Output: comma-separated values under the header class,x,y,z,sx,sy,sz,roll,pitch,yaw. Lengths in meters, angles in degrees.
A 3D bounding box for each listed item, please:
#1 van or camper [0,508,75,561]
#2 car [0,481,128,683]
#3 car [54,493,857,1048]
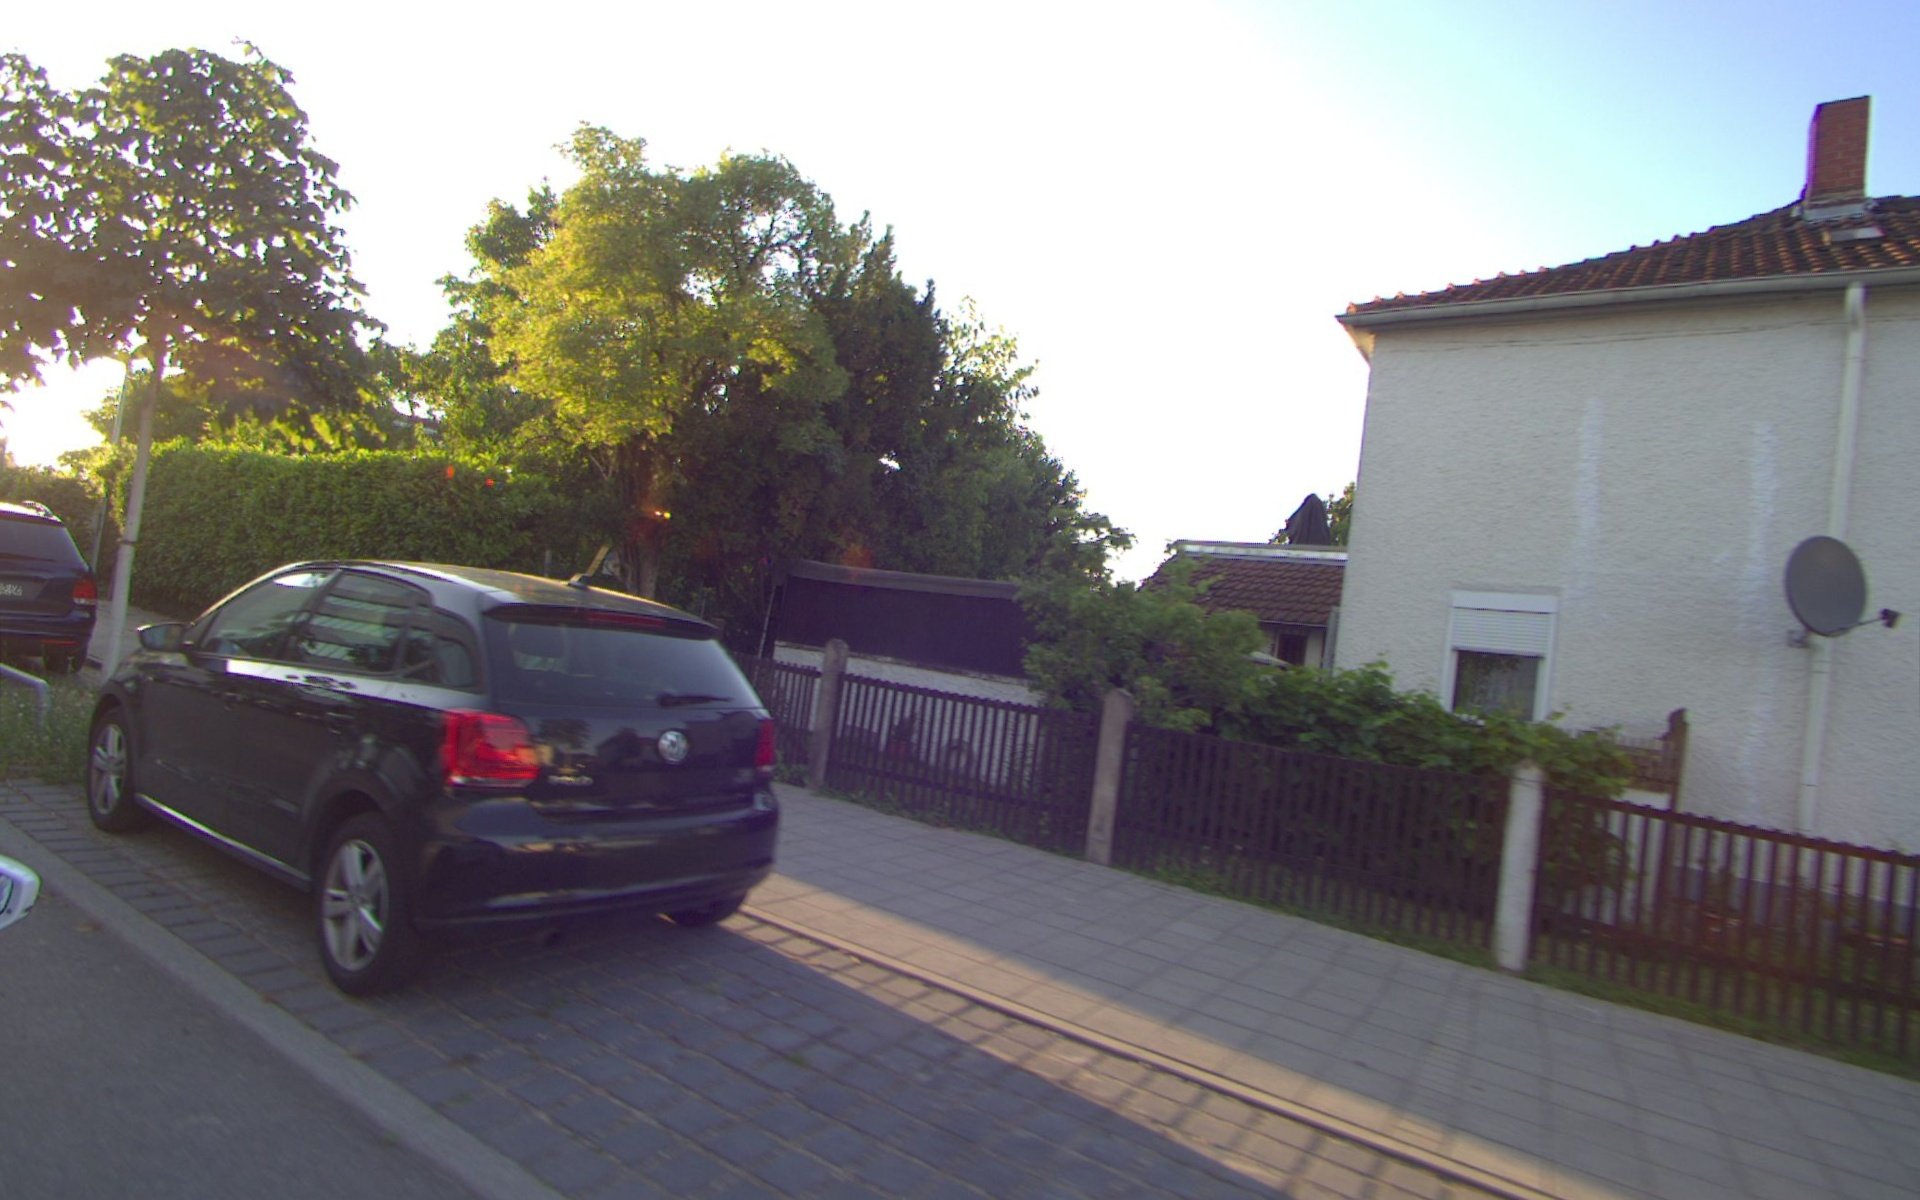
class,x,y,z,sx,sy,sz,roll,pitch,yaw
van or camper,-59.263,-4.244,62.881,2.398,2.823,5.598,6,-2,45
car,-9.525,-0.356,9.280,4.479,1.567,1.712,6,-3,37
car,-2.496,0.496,4.744,3.582,1.569,1.743,6,-3,35
